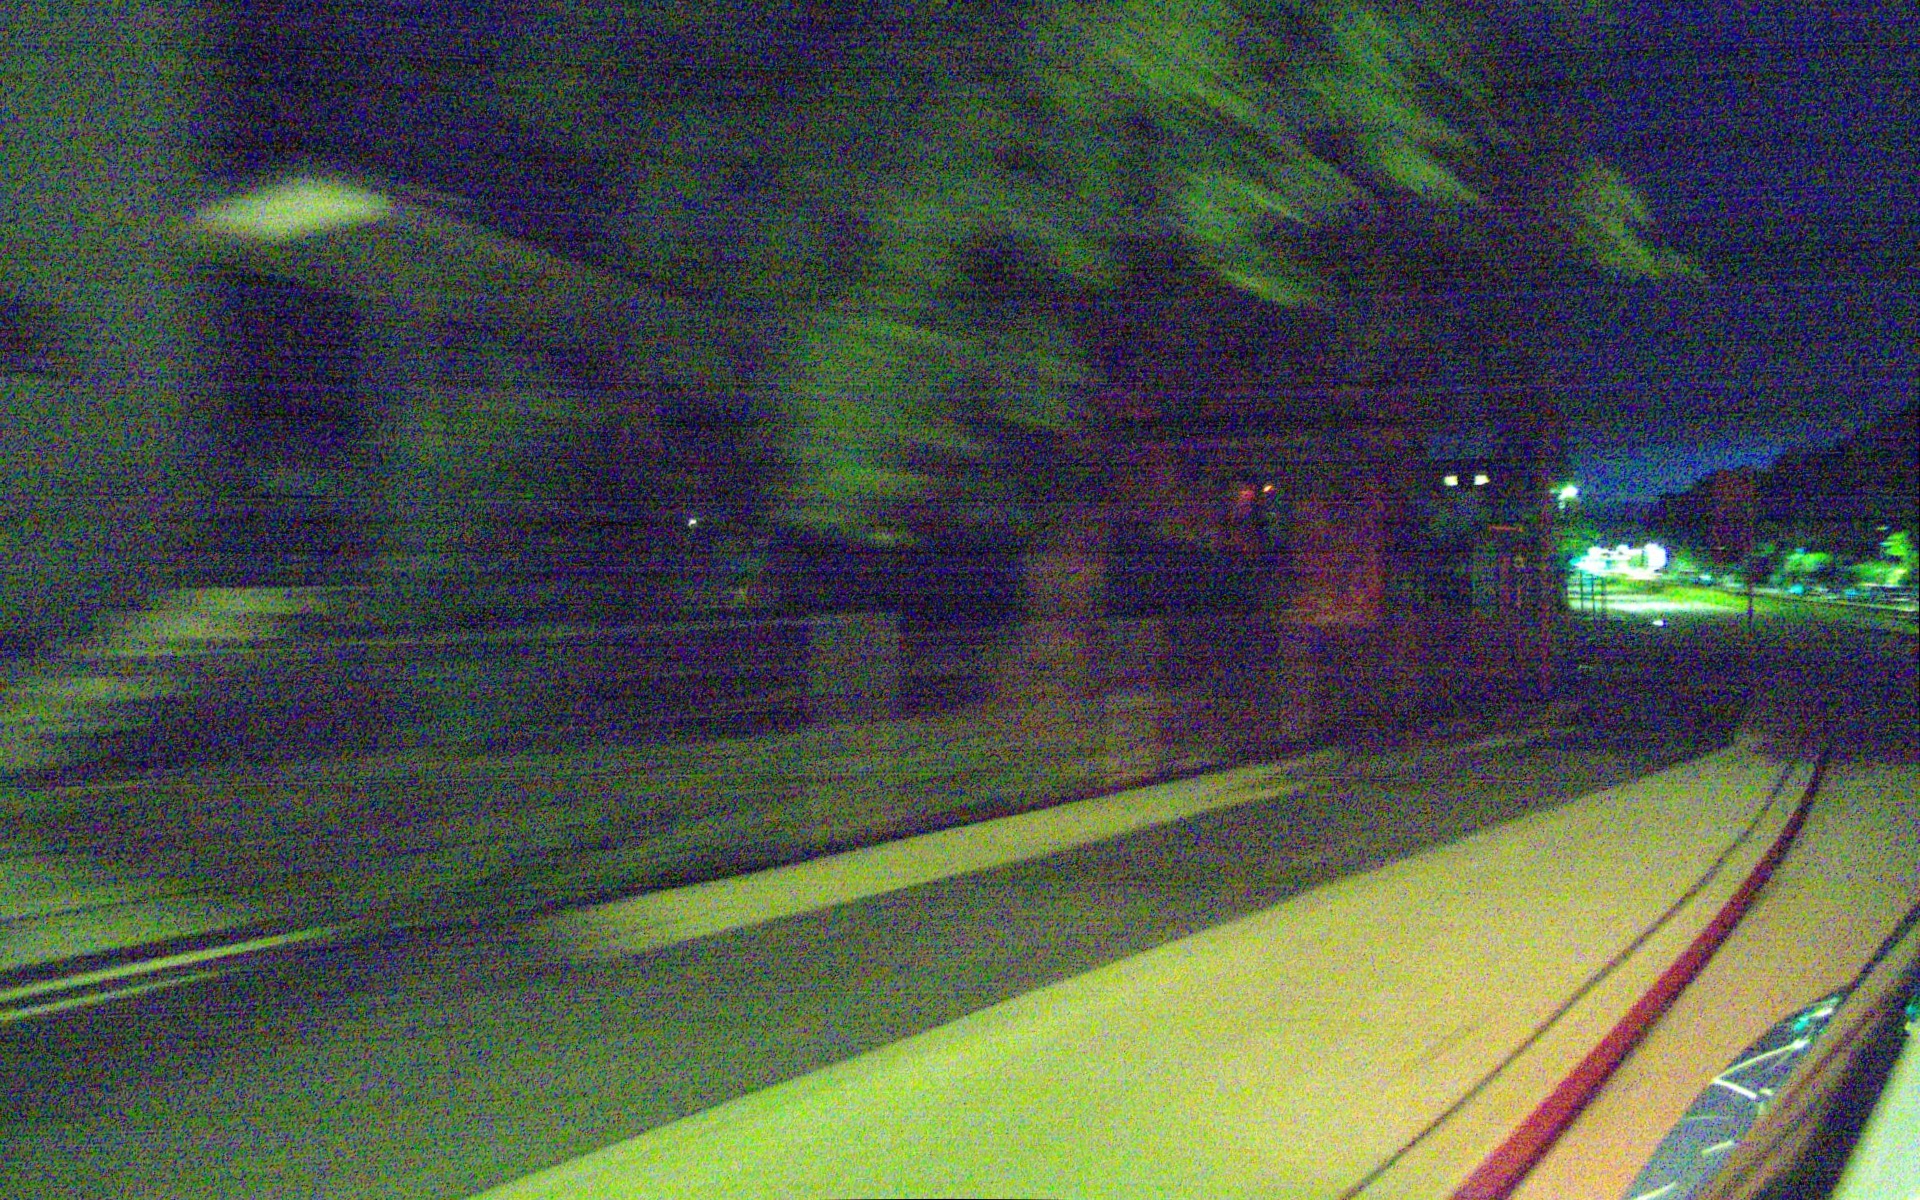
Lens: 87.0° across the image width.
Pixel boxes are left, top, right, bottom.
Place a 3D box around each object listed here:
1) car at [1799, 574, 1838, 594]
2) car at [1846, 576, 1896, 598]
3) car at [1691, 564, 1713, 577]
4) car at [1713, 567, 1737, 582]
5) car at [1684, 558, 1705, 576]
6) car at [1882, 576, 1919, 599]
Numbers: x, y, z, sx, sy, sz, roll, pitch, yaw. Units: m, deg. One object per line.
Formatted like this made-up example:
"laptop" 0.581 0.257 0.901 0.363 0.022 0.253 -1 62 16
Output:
"car" 78.452 -1.470 92.564 1.755 1.586 4.645 5 4 29
"car" 68.514 -1.022 76.193 1.893 1.381 4.929 4 4 32
"car" 107.099 -4.257 146.062 2.111 1.792 4.668 4 4 32
"car" 101.608 -3.430 134.451 2.111 1.792 4.668 4 4 32
"car" 114.454 -5.171 157.667 2.151 2.542 4.668 4 4 32
"car" 65.996 -0.865 70.431 1.719 1.381 4.104 3 4 29
